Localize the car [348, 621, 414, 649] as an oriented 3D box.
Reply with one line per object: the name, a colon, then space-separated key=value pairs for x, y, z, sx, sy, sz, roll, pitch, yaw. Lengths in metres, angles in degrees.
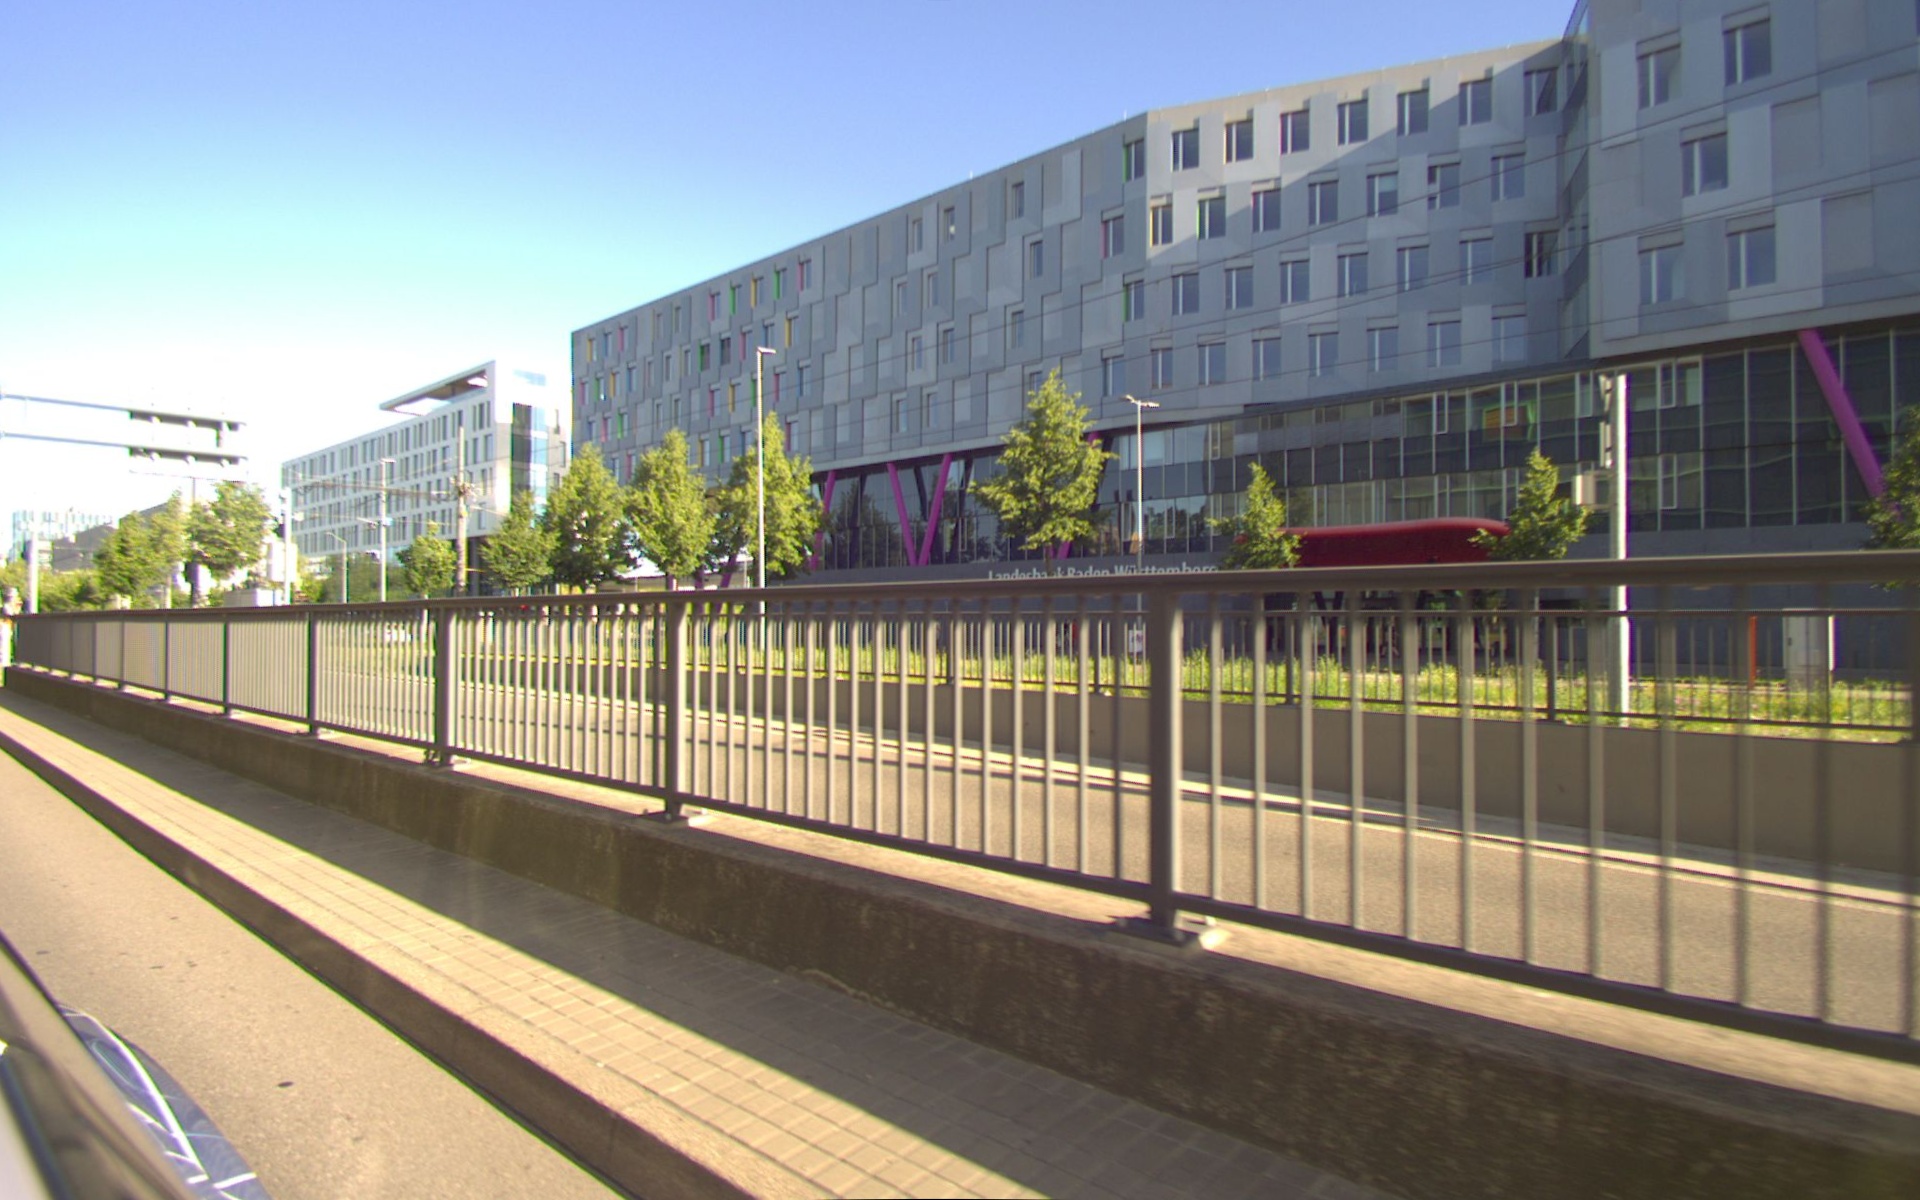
car: x=-35.020 y=2.098 z=61.159 sx=4.868 sy=1.574 sz=1.973 roll=-2 pitch=-2 yaw=40

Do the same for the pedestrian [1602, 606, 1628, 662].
pedestrian: x=24.279 y=1.261 z=37.494 sx=0.689 sy=2.029 sz=0.728 roll=-1 pitch=-2 yaw=42

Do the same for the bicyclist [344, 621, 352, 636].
bicyclist: x=-72.187 y=3.402 z=119.342 sx=0.837 sy=1.739 sz=0.524 roll=-2 pitch=-2 yaw=42

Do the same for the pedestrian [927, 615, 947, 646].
pedestrian: x=-1.343 y=1.775 z=59.167 sx=0.871 sy=1.836 sz=0.713 roll=-2 pitch=-2 yaw=42

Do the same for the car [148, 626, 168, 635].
car: x=-126.535 y=4.860 z=159.626 sx=4.000 sy=1.365 sz=1.850 roll=-1 pitch=0 yaw=43

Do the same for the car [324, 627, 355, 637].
car: x=-102.592 y=5.266 z=167.265 sx=1.873 sy=1.365 sz=3.950 roll=-1 pitch=0 yaw=37

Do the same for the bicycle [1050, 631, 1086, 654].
bicycle: x=5.634 y=2.212 z=52.939 sx=1.975 sy=1.181 sz=0.514 roll=-2 pitch=-2 yaw=42

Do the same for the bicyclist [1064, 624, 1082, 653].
bicyclist: x=5.949 y=2.045 z=53.302 sx=0.763 sy=1.507 sz=0.552 roll=-2 pitch=-2 yaw=42
